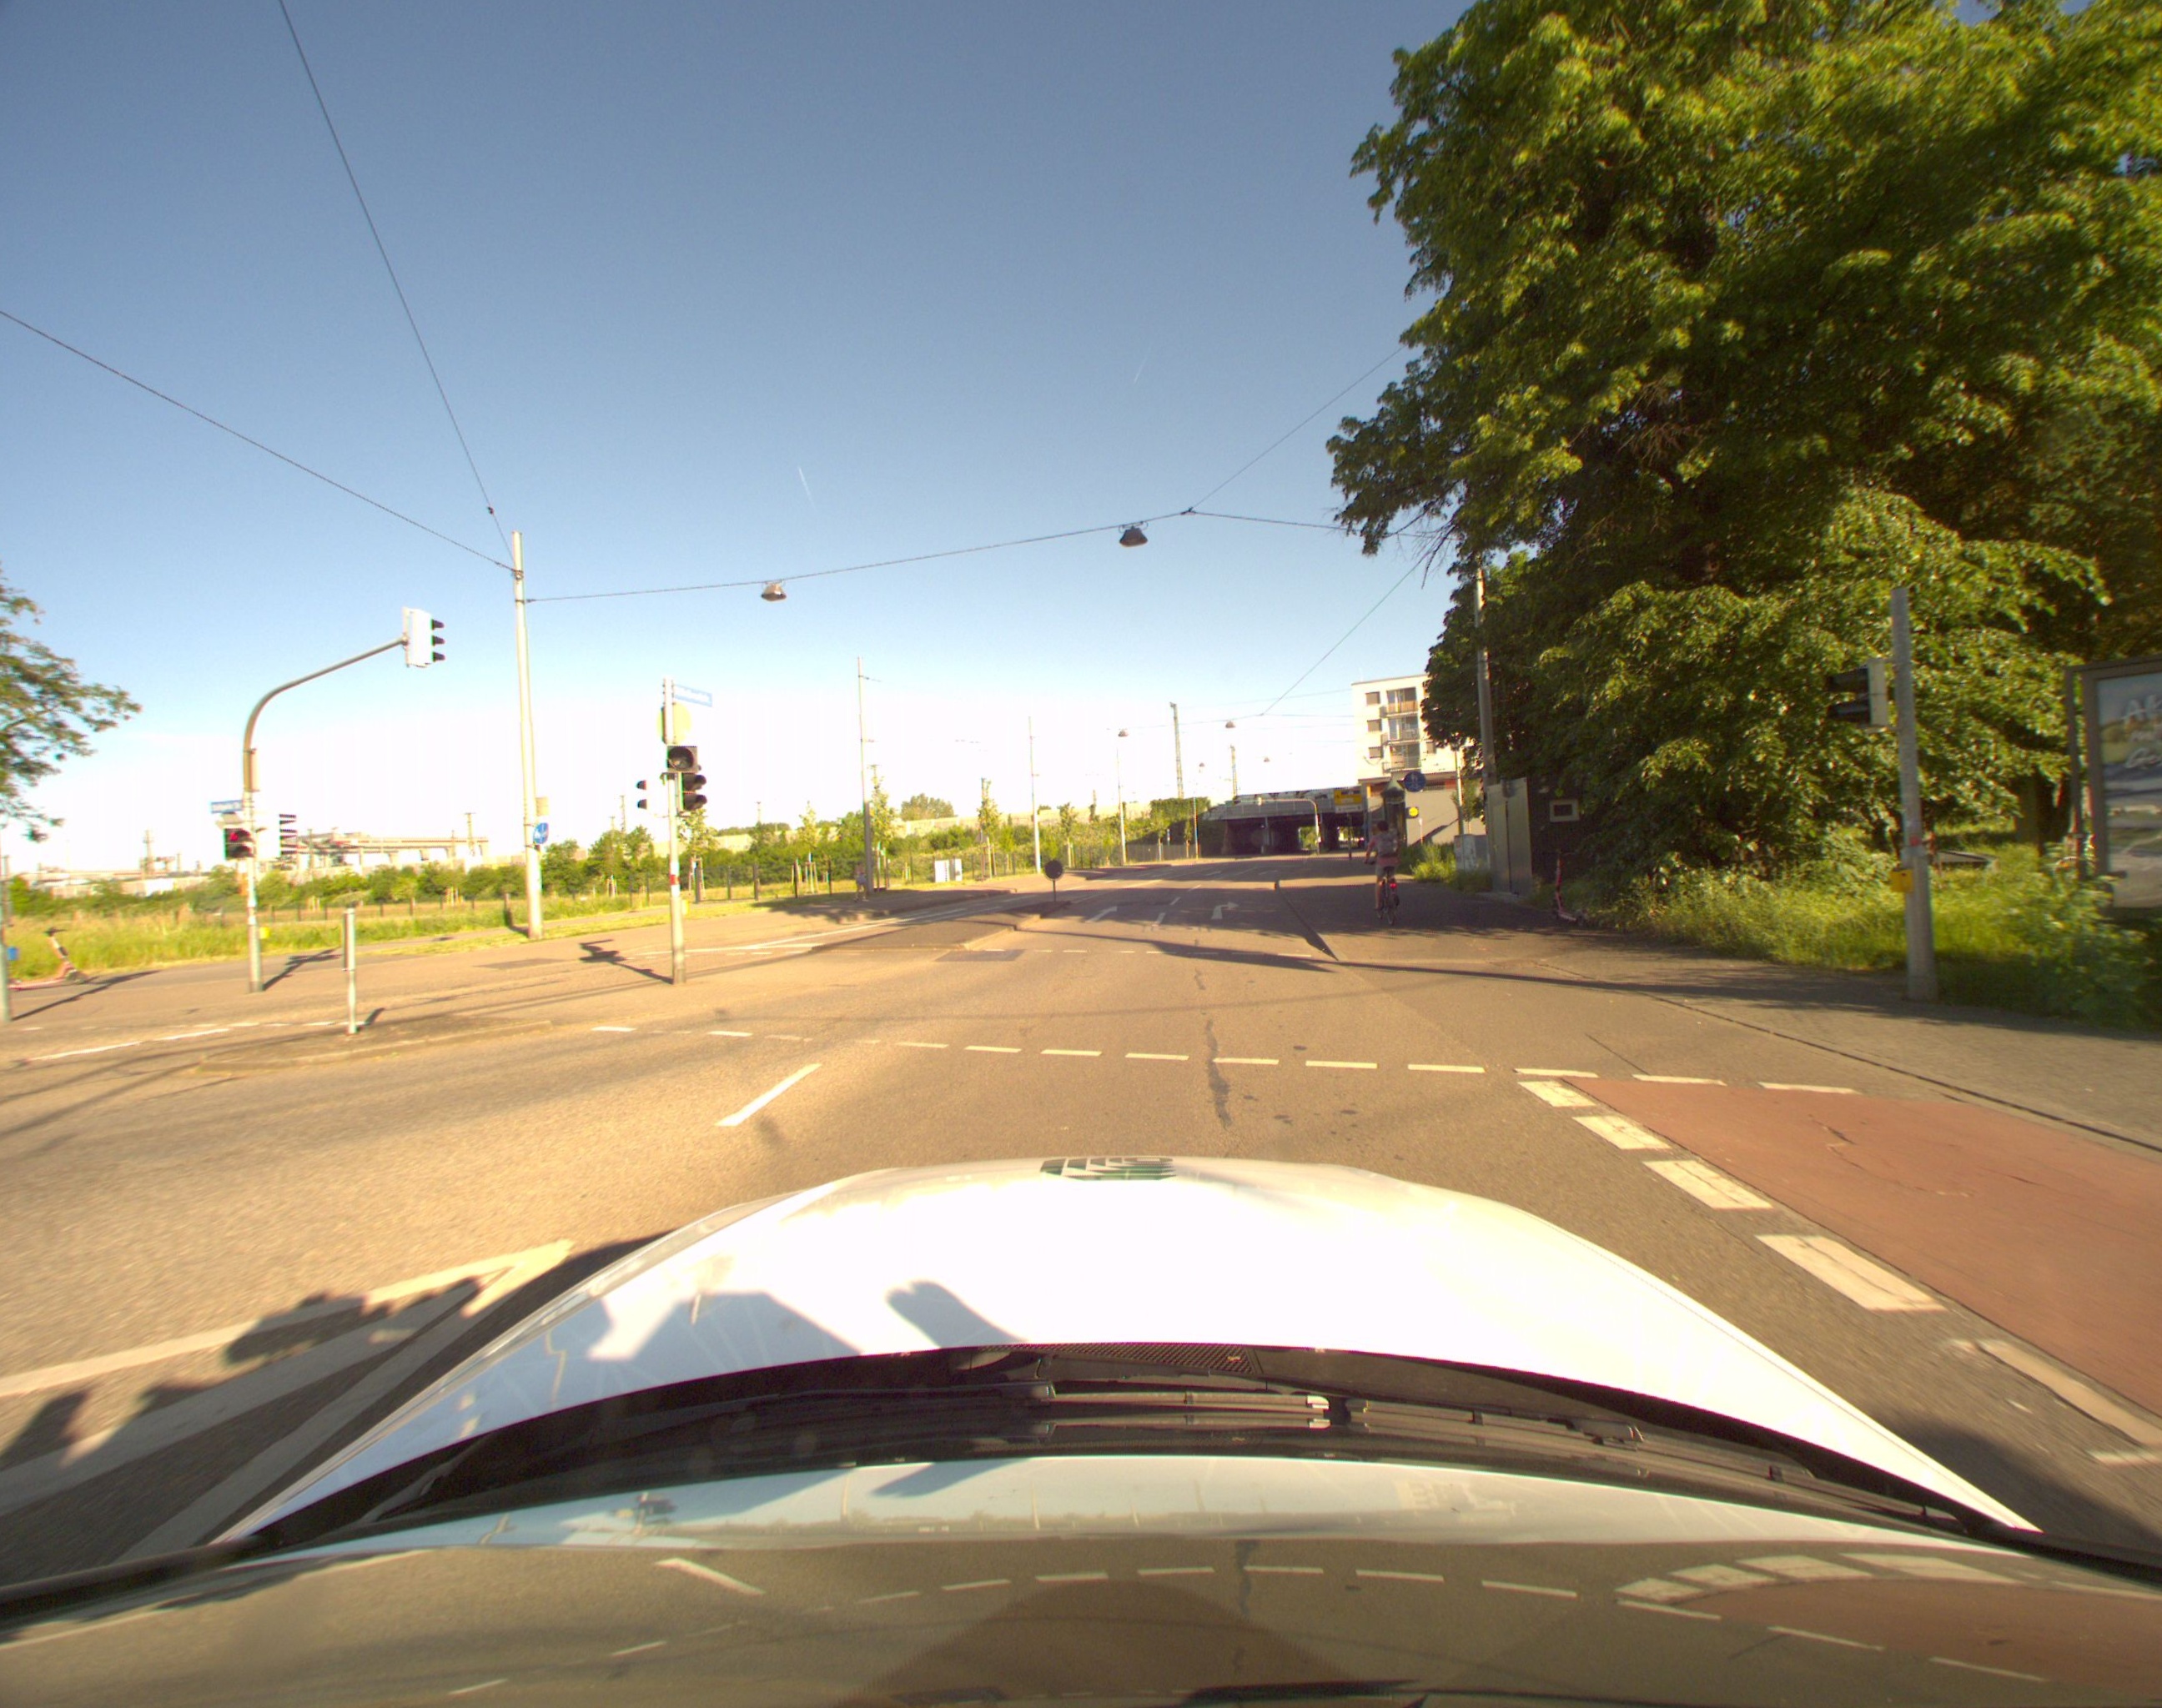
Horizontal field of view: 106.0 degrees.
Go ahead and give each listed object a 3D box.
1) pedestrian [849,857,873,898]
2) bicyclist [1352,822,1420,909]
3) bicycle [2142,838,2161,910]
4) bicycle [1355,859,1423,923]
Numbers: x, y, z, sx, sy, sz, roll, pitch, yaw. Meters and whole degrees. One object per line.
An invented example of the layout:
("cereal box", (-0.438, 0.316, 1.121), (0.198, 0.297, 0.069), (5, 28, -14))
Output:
("pedestrian", (-8.747, 0.916, 32.351), (0.594, 1.596, 0.688), (-2, -1, 18))
("bicyclist", (5.657, 0.208, 15.194), (0.835, 1.510, 1.372), (-4, -1, 8))
("bicycle", (14.684, 0.207, 10.050), (0.663, 0.906, 1.861), (-2, -2, -39))
("bicycle", (5.672, 0.654, 15.129), (0.663, 1.059, 2.086), (-4, -1, 8))
